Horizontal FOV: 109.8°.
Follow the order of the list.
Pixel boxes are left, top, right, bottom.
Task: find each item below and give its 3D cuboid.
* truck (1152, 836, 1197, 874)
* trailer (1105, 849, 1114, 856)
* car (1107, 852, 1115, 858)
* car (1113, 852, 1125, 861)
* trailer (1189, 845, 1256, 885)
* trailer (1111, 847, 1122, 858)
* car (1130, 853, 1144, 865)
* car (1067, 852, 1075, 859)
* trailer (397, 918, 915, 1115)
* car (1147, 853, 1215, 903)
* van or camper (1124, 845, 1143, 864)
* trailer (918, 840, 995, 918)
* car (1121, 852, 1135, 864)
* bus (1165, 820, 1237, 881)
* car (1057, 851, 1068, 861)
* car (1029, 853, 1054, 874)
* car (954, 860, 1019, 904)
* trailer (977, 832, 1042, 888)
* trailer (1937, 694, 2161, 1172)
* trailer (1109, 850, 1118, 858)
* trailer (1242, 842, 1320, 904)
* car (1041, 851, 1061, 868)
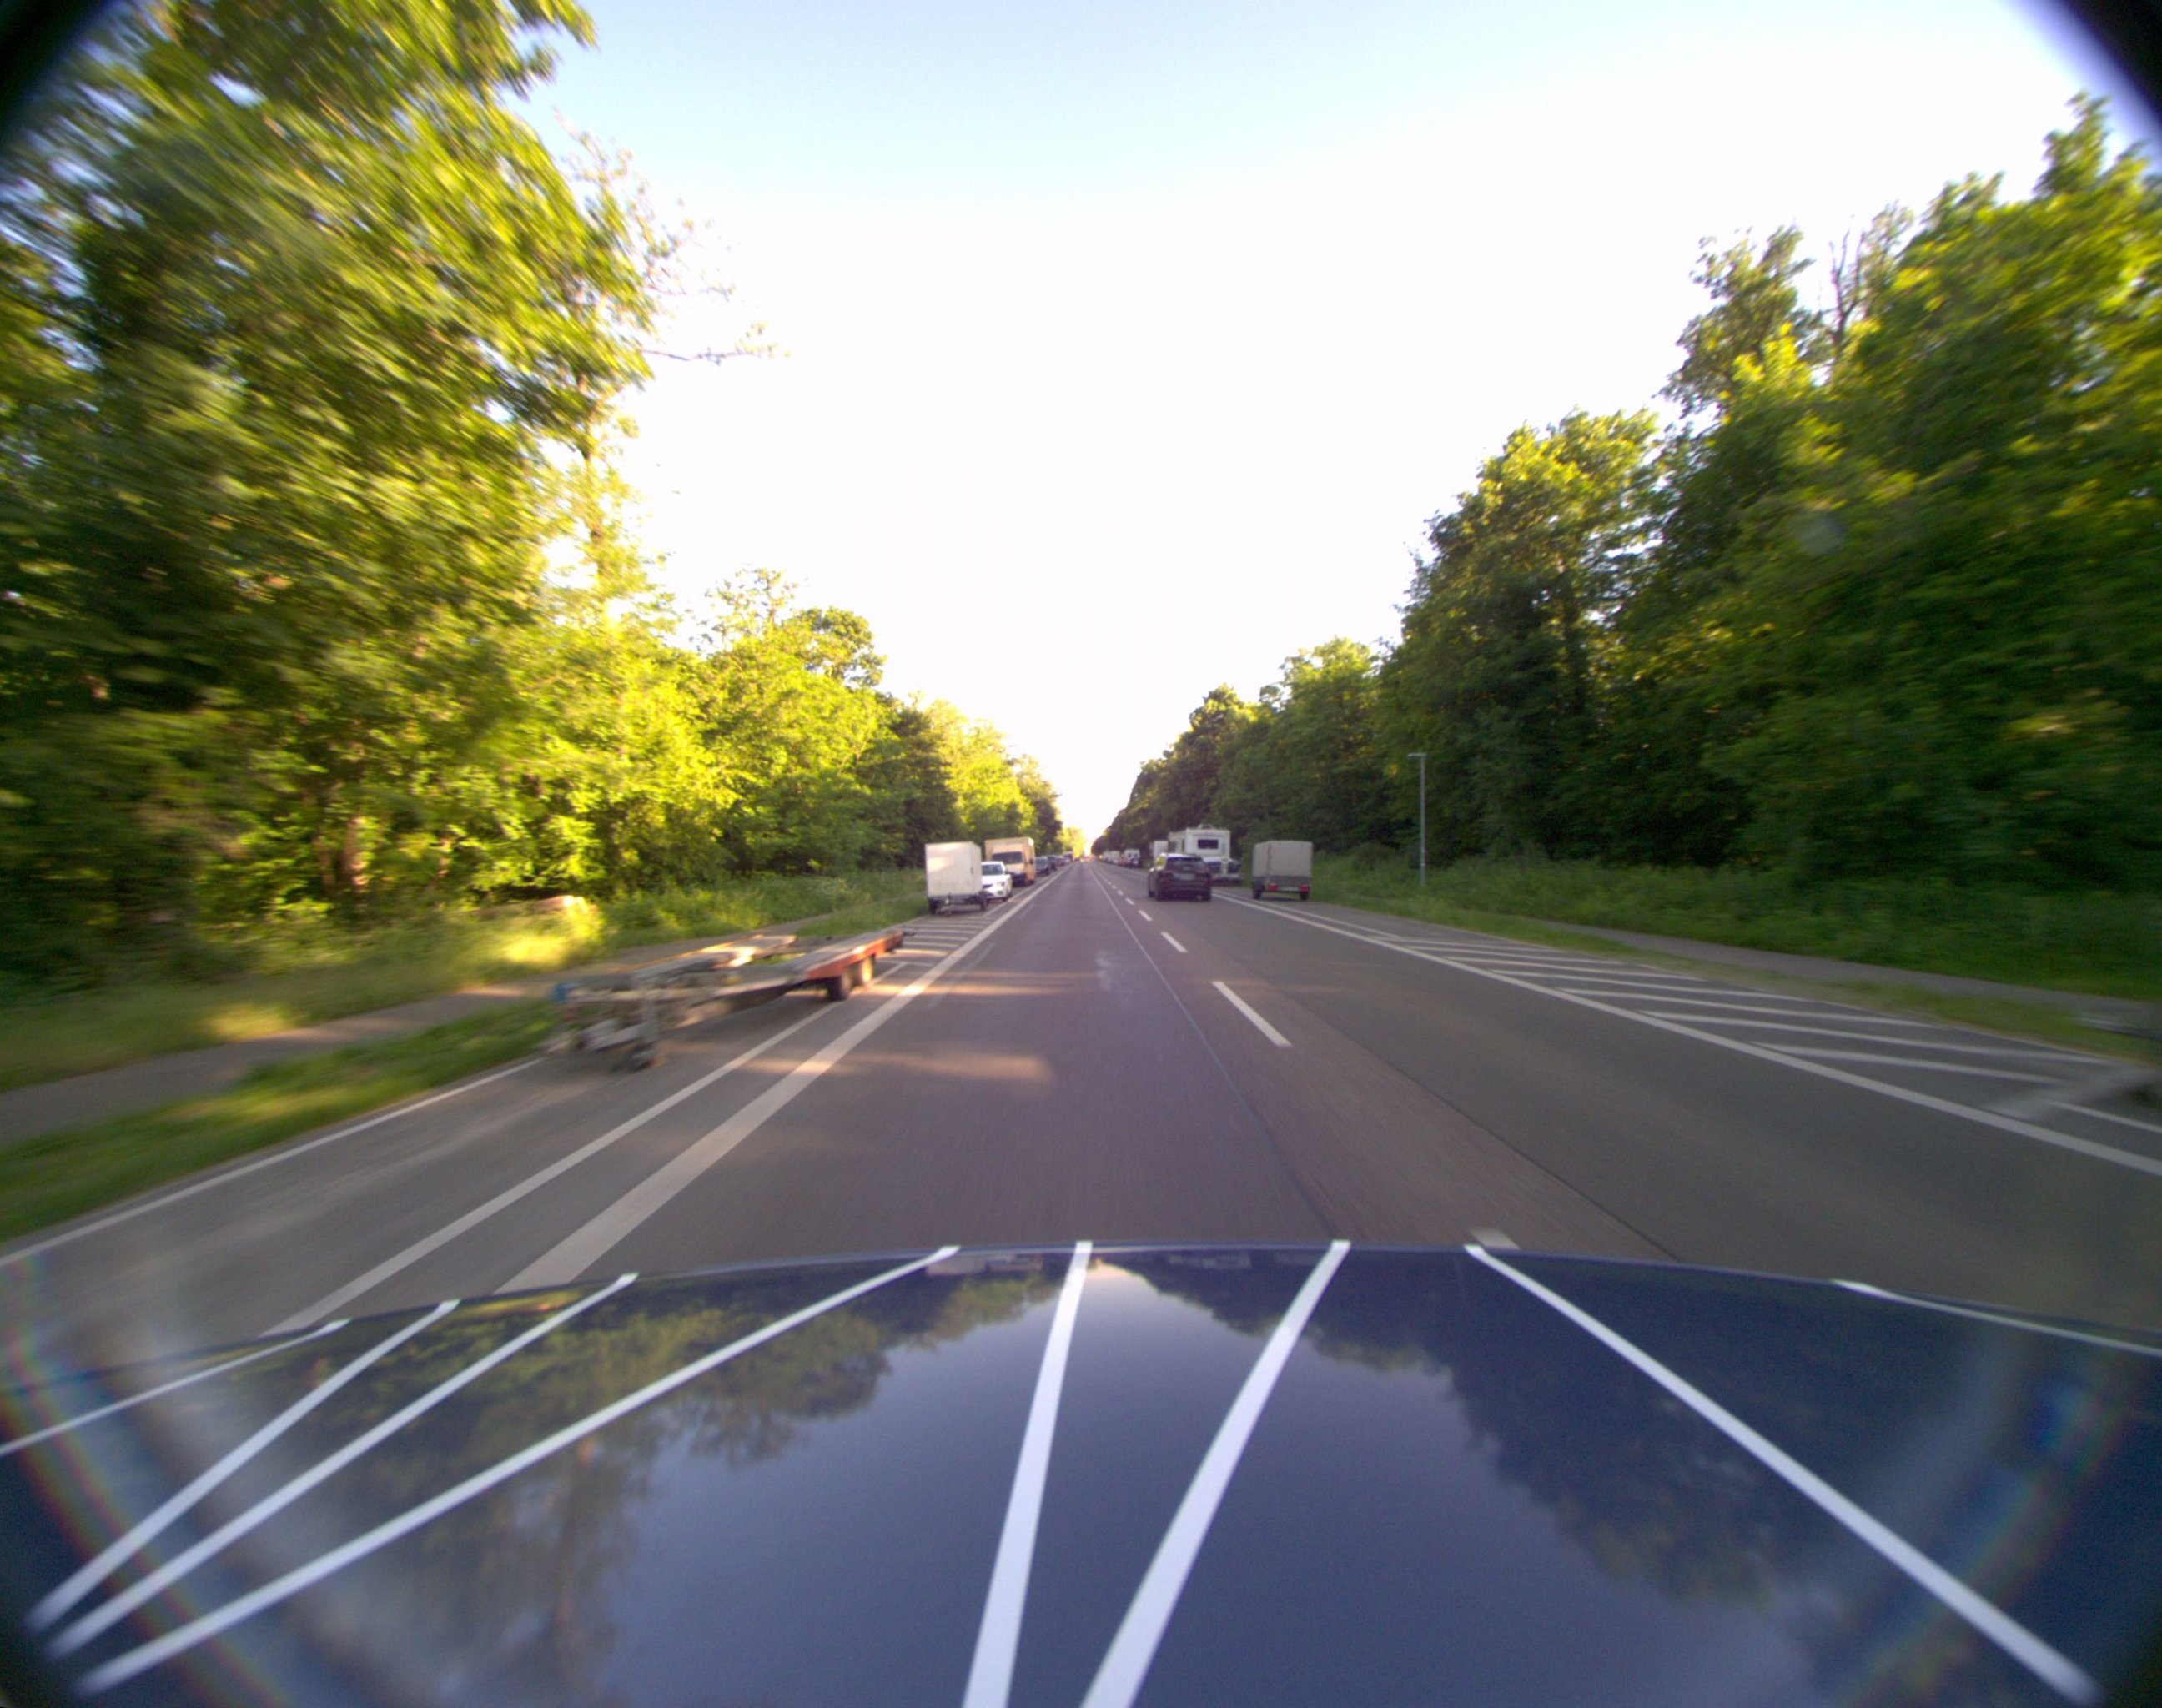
[{"bbox_3d":[7.373,0.066,60.972,2.489,2.807,8.423,-2,0,0],"label":"truck"},{"bbox_3d":[7.835,-0.368,209.508,2.306,1.972,3.999,-2,1,0],"label":"trailer"},{"bbox_3d":[7.924,0.278,202.218,1.998,1.620,4.144,-2,0,0],"label":"car"},{"bbox_3d":[7.319,0.548,147.225,1.998,1.620,4.144,-2,0,0],"label":"car"},{"bbox_3d":[7.490,0.559,40.944,2.434,1.903,6.263,-2,0,0],"label":"trailer"},{"bbox_3d":[7.143,-0.361,154.195,1.998,2.227,3.999,-2,1,0],"label":"trailer"},{"bbox_3d":[7.152,0.675,97.216,1.787,1.485,4.001,0,0,5],"label":"car"},{"bbox_3d":[-2.407,0.278,183.267,1.837,1.608,4.000,-2,0,0],"label":"car"},{"bbox_3d":[-3.690,1.418,8.326,2.439,0.794,5.658,-2,1,0],"label":"trailer"},{"bbox_3d":[3.415,0.764,26.619,1.823,1.577,4.459,0,1,1],"label":"car"},{"bbox_3d":[7.509,0.117,109.431,2.253,2.599,5.984,-1,0,0],"label":"van or camper"},{"bbox_3d":[-3.689,0.691,23.108,1.759,2.149,3.539,-1,0,-1],"label":"trailer"},{"bbox_3d":[7.403,0.624,120.069,1.998,1.797,4.144,-2,0,0],"label":"car"},{"bbox_3d":[7.584,-0.254,49.701,2.835,3.411,11.198,-2,1,0],"label":"bus"},{"bbox_3d":[-3.337,0.351,138.390,1.837,1.608,4.000,-2,0,0],"label":"car"},{"bbox_3d":[-3.420,0.793,66.338,1.804,1.681,4.601,-2,1,0],"label":"car"},{"bbox_3d":[-3.514,1.003,29.049,1.892,1.459,4.569,-2,0,0],"label":"car"},{"bbox_3d":[-4.088,0.289,45.797,2.929,2.825,9.881,-4,1,-1],"label":"trailer"},{"bbox_3d":[6.653,0.402,3.181,2.072,2.466,3.559,-1,0,-3],"label":"trailer"},{"bbox_3d":[7.513,0.018,176.057,1.998,1.776,3.999,-2,1,0],"label":"trailer"},{"bbox_3d":[7.062,0.629,27.226,1.858,2.002,3.561,1,0,1],"label":"trailer"},{"bbox_3d":[-3.520,0.676,89.889,1.998,1.888,5.473,-2,0,0],"label":"car"}]
